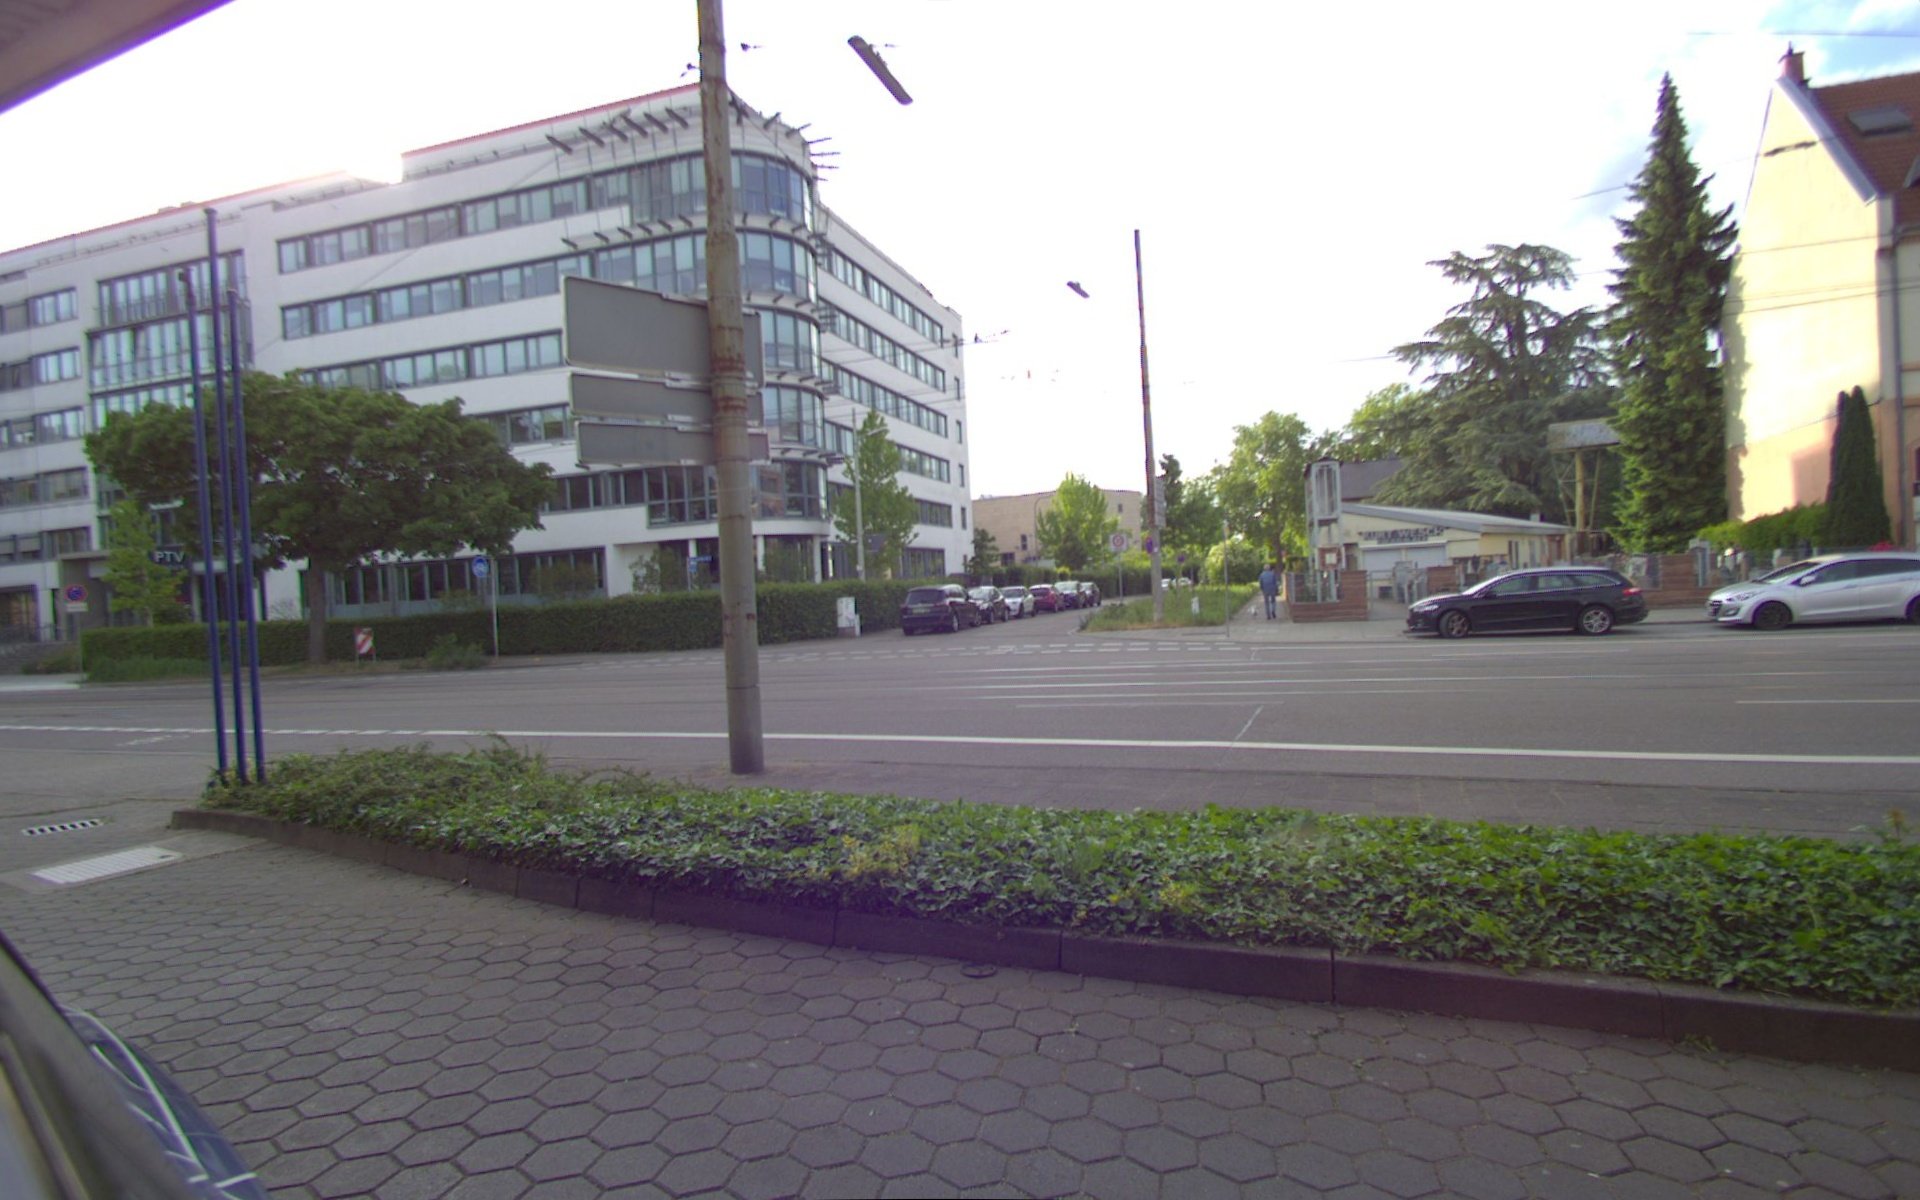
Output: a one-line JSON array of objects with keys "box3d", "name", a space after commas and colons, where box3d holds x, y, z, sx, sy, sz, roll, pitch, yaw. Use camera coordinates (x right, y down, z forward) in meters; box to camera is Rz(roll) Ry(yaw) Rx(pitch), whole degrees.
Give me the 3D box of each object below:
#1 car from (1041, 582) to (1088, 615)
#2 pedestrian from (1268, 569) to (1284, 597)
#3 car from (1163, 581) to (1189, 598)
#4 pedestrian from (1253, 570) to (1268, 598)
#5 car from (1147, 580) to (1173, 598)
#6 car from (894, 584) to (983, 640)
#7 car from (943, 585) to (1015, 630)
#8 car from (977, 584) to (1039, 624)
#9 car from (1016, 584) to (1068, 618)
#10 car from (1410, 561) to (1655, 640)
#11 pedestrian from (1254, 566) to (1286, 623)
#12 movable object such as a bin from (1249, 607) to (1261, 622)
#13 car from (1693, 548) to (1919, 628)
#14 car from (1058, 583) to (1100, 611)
[{"box3d": [6.030, -0.127, 57.808, 1.807, 1.704, 4.392, -4, 0, 16], "name": "car"}, {"box3d": [21.675, -1.131, 69.464, 0.965, 1.896, 1.056, -1, 0, 18], "name": "pedestrian"}, {"box3d": [22.835, -1.137, 106.857, 1.813, 1.654, 4.040, -4, 0, 25], "name": "car"}, {"box3d": [20.727, -1.121, 69.782, 0.965, 1.896, 1.056, -1, 0, 18], "name": "pedestrian"}, {"box3d": [19.958, -1.118, 100.910, 1.811, 1.654, 4.044, -4, 0, 22], "name": "car"}, {"box3d": [-0.688, 0.362, 35.570, 1.807, 1.701, 4.370, -4, 1, 16], "name": "car"}, {"box3d": [0.829, 0.276, 40.985, 1.807, 1.589, 4.175, -4, 0, 16], "name": "car"}, {"box3d": [2.223, 0.159, 45.689, 1.807, 1.589, 4.175, -4, 0, 16], "name": "car"}, {"box3d": [4.299, 0.030, 52.410, 1.807, 1.589, 4.175, -4, 0, 16], "name": "car"}, {"box3d": [13.011, 0.012, 23.371, 4.632, 1.533, 1.842, -3, 2, 22], "name": "car"}, {"box3d": [9.686, -0.177, 31.600, 0.902, 1.712, 0.920, -2, 3, 19], "name": "pedestrian"}, {"box3d": [9.607, 0.470, 32.970, 0.363, 0.397, 0.660, -2, 3, 15], "name": "movable object such as a bin"}, {"box3d": [18.405, -0.263, 21.400, 4.349, 1.493, 1.732, -3, 1, 22], "name": "car"}, {"box3d": [7.385, -0.203, 62.574, 1.807, 1.585, 4.052, -4, 0, 16], "name": "car"}]
